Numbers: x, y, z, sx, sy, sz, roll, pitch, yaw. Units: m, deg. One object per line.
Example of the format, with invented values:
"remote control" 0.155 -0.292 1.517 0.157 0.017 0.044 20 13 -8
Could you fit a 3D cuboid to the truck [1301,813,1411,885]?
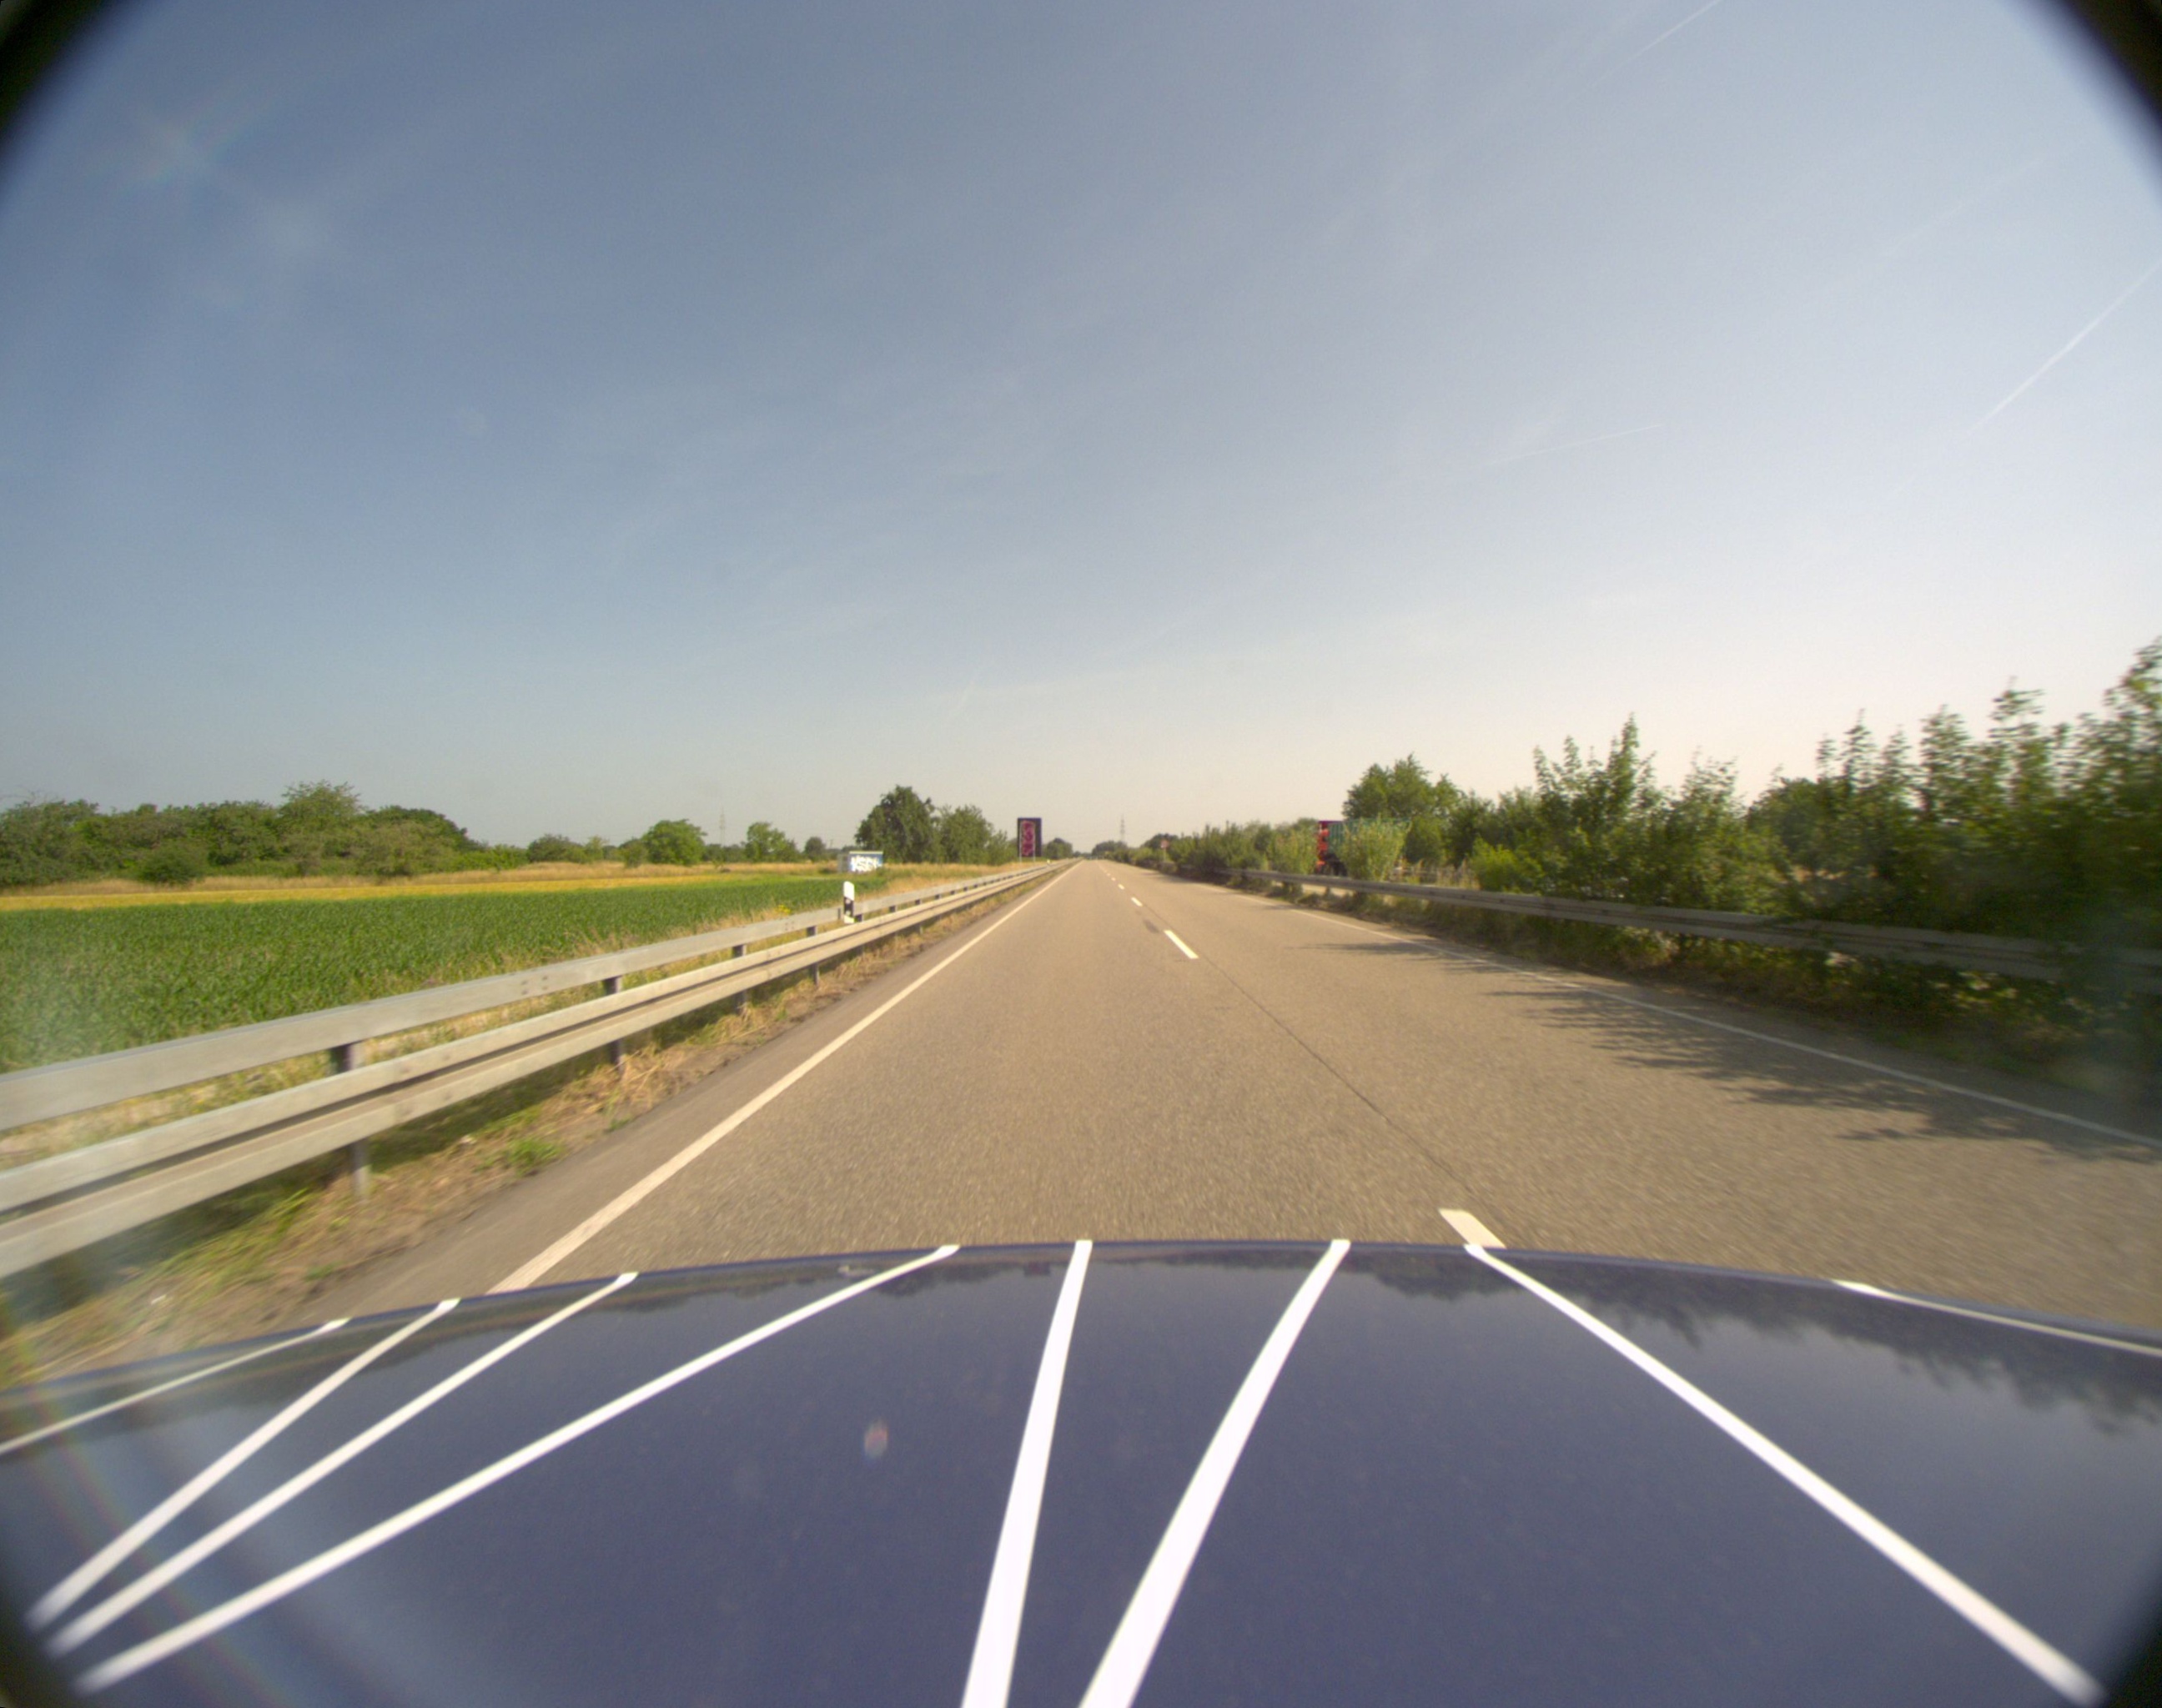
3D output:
"truck" 15.319 -0.296 43.331 2.609 3.568 10.385 -1 0 1
